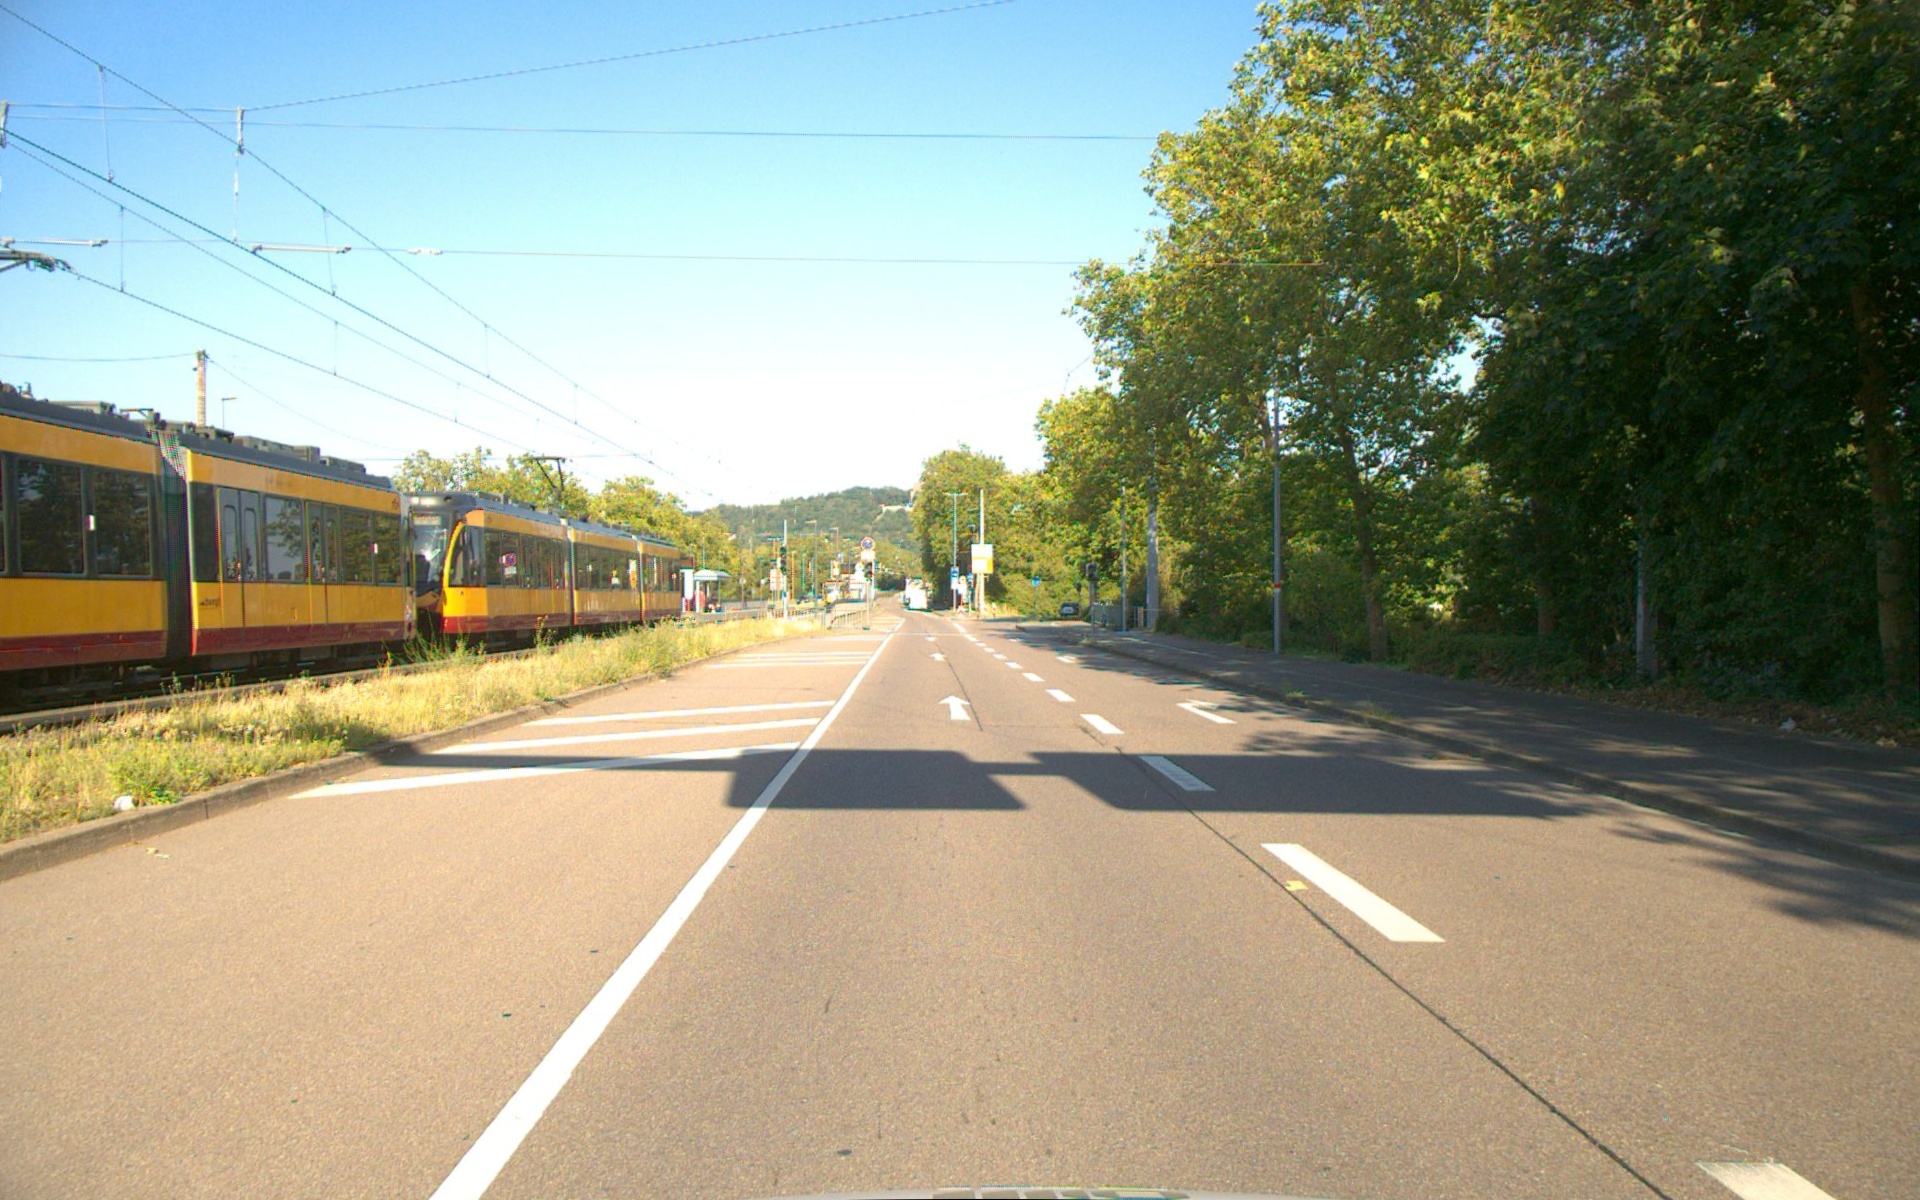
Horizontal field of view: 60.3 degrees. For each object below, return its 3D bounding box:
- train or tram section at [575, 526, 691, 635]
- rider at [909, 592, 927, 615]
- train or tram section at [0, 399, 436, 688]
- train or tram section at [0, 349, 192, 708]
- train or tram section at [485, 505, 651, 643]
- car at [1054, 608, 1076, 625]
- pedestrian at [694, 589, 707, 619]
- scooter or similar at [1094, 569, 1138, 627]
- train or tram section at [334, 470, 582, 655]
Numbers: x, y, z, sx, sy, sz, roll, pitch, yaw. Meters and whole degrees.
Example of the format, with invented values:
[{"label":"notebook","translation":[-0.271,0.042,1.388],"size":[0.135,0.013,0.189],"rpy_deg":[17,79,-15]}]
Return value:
[{"label":"train or tram section","translation":[-13.103,-0.697,67.226],"size":[2.767,4.020,10.831],"rpy_deg":[1,0,-1]},{"label":"rider","translation":[-4.940,0.467,194.650],"size":[2.064,2.693,0.737],"rpy_deg":[0,0,4]},{"label":"train or tram section","translation":[-12.311,-0.768,28.965],"size":[2.747,3.971,11.808],"rpy_deg":[1,0,-2]},{"label":"train or tram section","translation":[-11.953,-0.816,17.039],"size":[2.747,3.971,11.986],"rpy_deg":[1,0,-2]},{"label":"train or tram section","translation":[-12.826,-0.746,55.476],"size":[2.767,4.020,12.649],"rpy_deg":[1,0,-1]},{"label":"car","translation":[10.154,1.580,159.783],"size":[2.042,1.593,3.957],"rpy_deg":[1,0,5]},{"label":"pedestrian","translation":[-18.325,0.287,116.767],"size":[0.729,2.049,0.608],"rpy_deg":[1,-1,-1]},{"label":"scooter or similar","translation":[7.689,-0.113,81.988],"size":[1.647,2.763,4.868],"rpy_deg":[1,0,-1]},{"label":"train or tram section","translation":[-12.509,-0.799,42.787],"size":[2.767,4.020,12.703],"rpy_deg":[1,0,-1]}]
